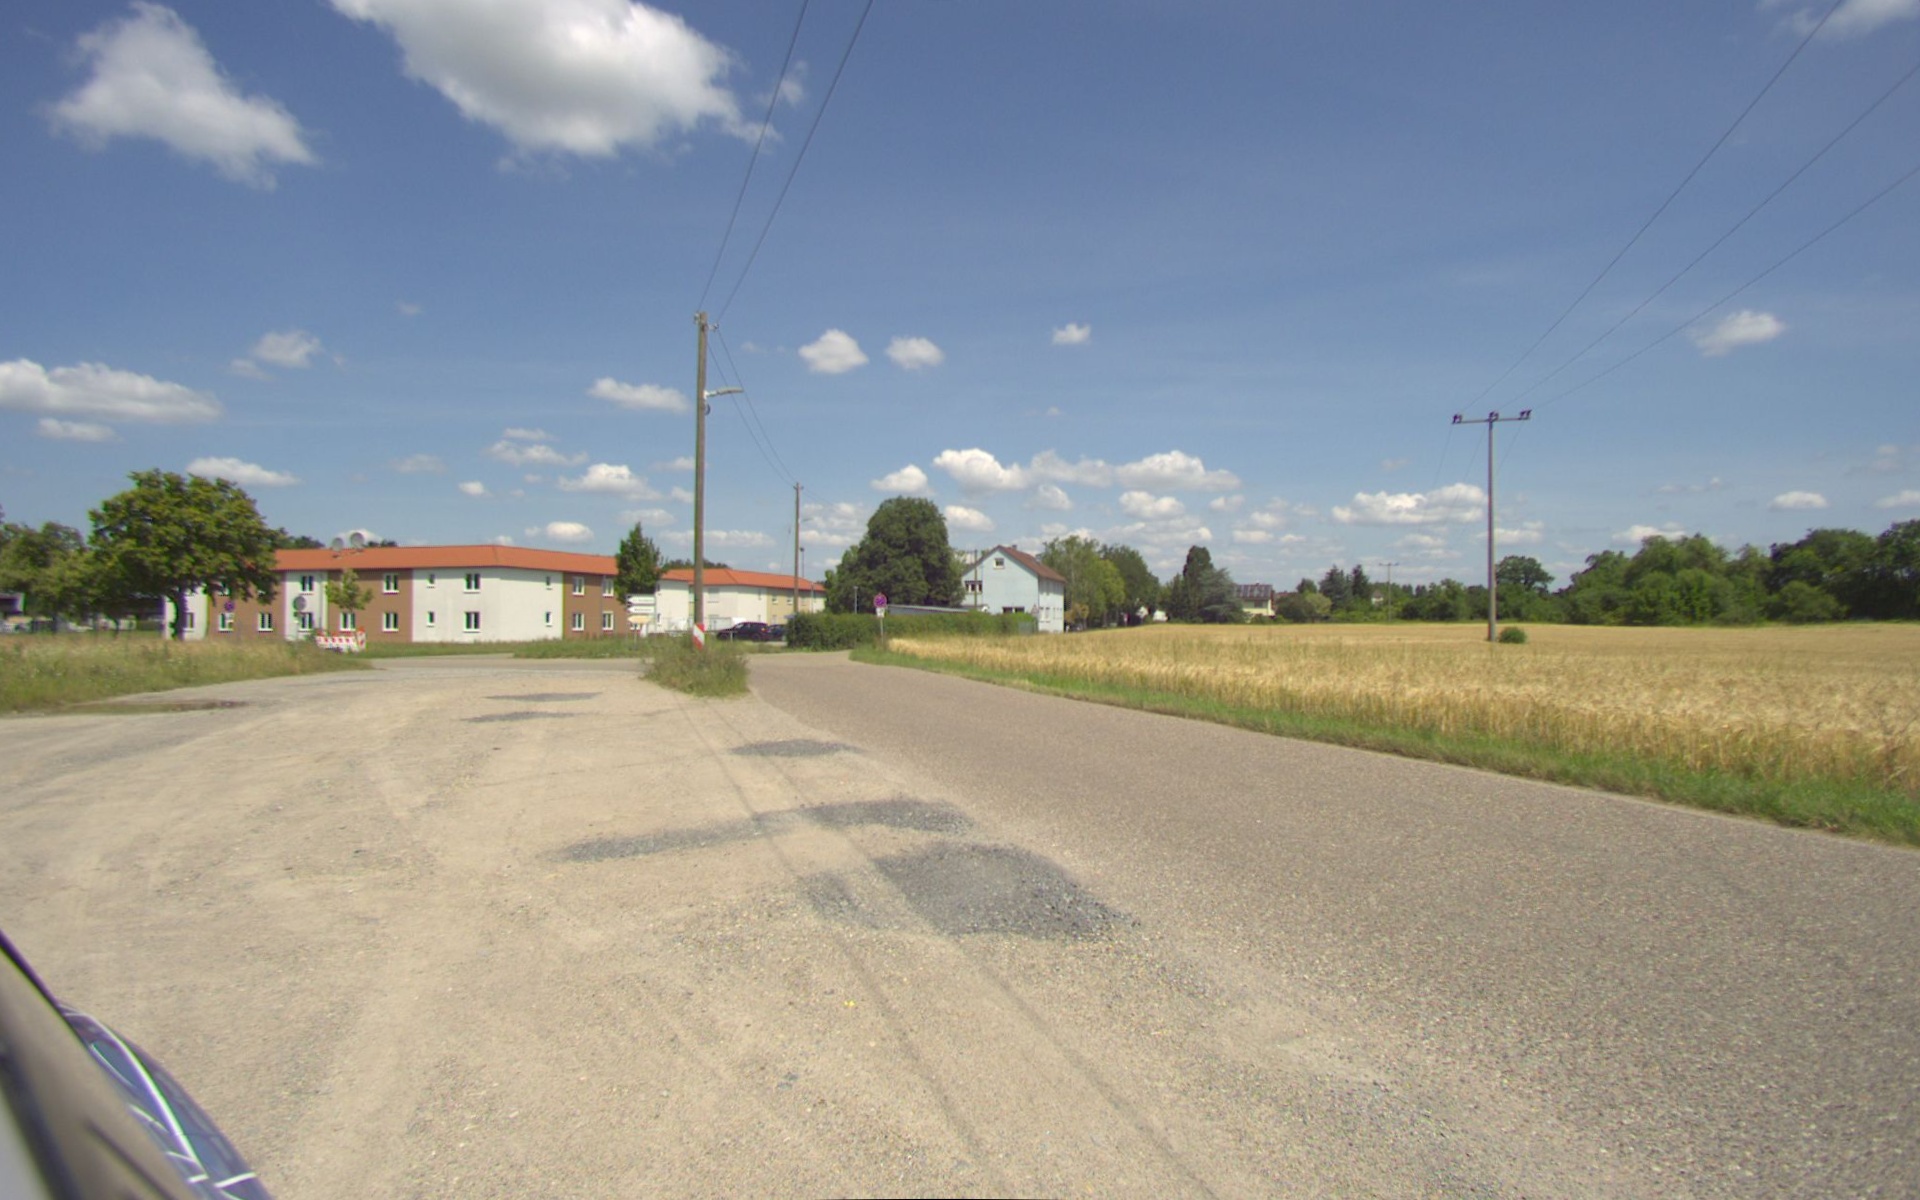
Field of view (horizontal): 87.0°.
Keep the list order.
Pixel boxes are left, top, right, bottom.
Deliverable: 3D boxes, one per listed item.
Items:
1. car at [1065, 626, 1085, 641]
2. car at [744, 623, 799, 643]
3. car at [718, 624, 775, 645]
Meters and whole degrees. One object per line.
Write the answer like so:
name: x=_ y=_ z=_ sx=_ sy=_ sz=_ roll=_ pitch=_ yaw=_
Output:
car: x=13.889 y=4.076 z=121.915 sx=1.733 sy=1.692 sz=4.234 roll=-1 pitch=-1 yaw=15
car: x=-15.811 y=2.789 z=84.760 sx=4.109 sy=1.627 sz=1.990 roll=0 pitch=-2 yaw=15
car: x=-17.087 y=2.767 z=81.051 sx=4.109 sy=1.627 sz=1.990 roll=0 pitch=-2 yaw=15
